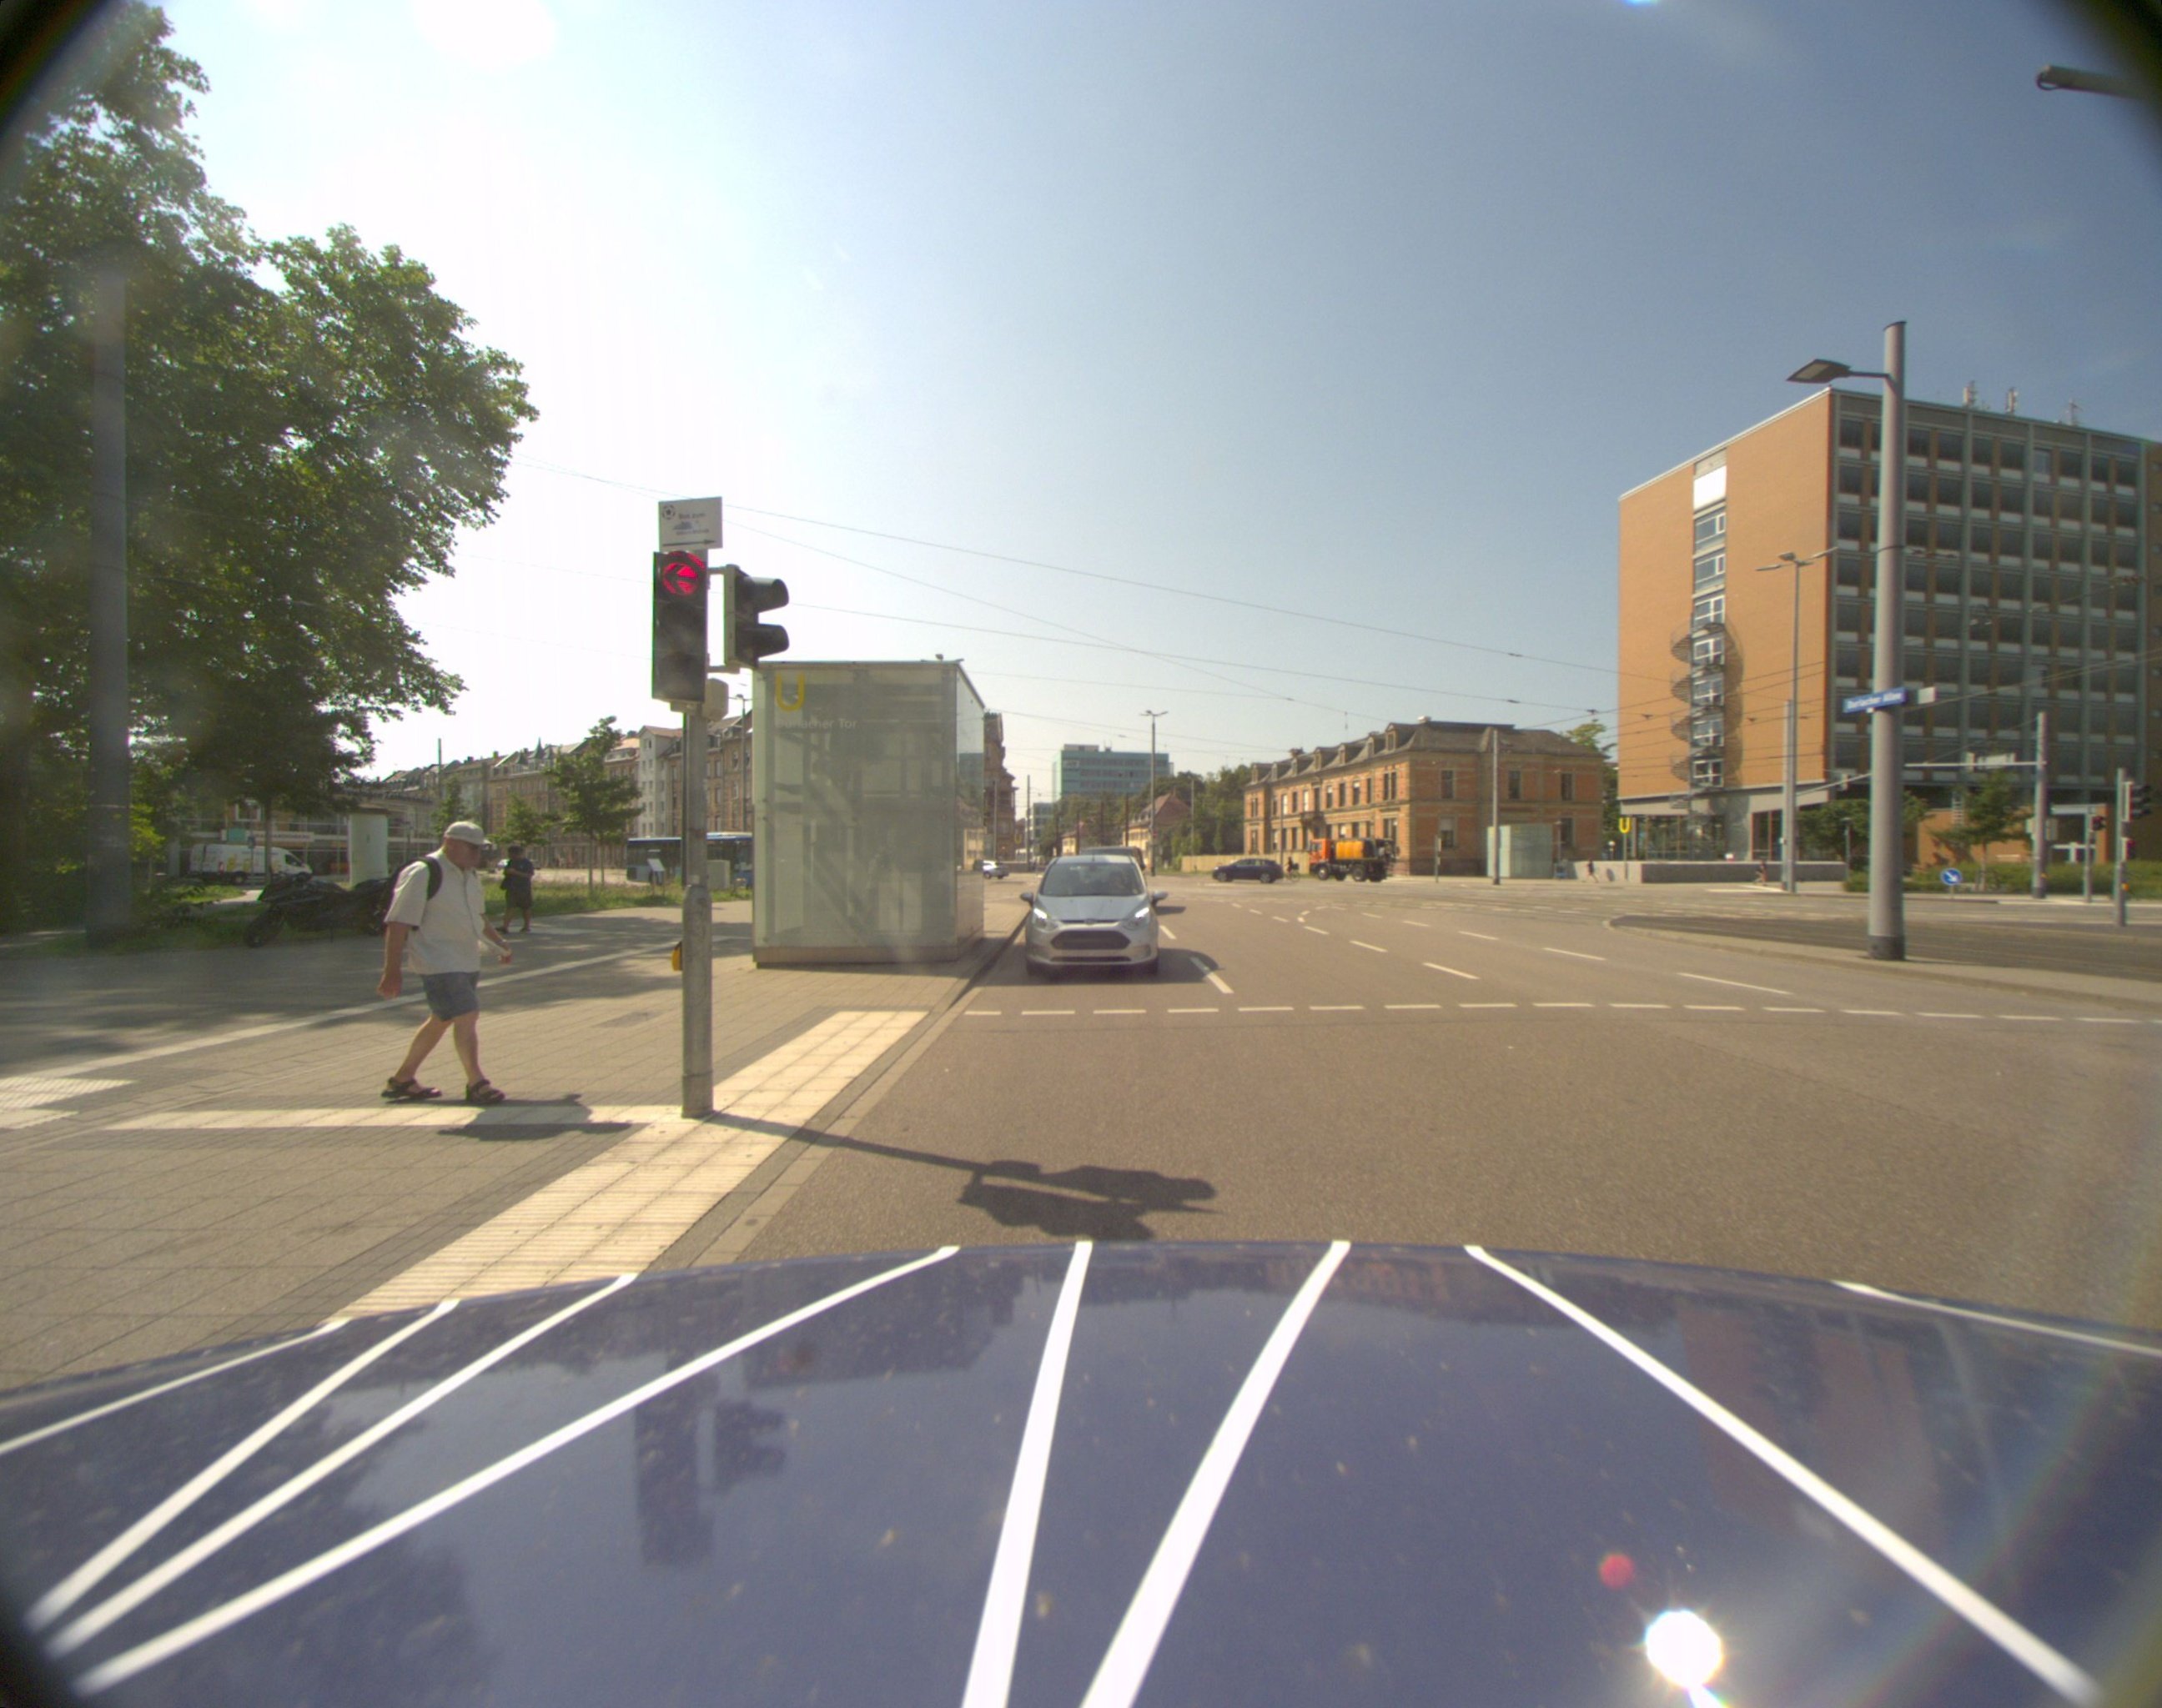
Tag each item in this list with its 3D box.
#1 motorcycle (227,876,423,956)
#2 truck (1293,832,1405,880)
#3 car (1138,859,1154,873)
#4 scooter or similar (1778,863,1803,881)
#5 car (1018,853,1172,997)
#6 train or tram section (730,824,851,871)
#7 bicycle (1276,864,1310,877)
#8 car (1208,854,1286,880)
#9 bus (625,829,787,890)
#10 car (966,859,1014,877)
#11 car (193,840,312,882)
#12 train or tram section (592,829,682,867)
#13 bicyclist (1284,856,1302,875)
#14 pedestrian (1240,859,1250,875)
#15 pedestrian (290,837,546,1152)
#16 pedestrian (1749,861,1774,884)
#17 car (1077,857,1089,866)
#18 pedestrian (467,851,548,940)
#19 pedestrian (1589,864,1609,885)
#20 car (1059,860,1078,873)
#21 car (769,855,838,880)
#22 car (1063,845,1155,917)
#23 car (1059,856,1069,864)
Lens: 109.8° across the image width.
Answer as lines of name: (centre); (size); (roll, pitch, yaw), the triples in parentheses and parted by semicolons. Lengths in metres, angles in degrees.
motorcycle: (-12.405, 0.963, 12.584); (0.911, 1.130, 2.114); (0, 0, 14)
truck: (19.277, 0.263, 55.036); (3.049, 3.209, 7.172); (1, -2, -38)
car: (10.158, 1.890, 118.834); (1.999, 2.001, 4.000); (0, -2, -4)
scooter or similar: (46.400, 1.163, 49.693); (1.143, 1.150, 0.444); (0, 0, 16)
car: (0.127, 0.780, 10.530); (1.692, 1.585, 4.360); (0, 0, -1)
train or tram section: (-23.813, -0.519, 61.756); (12.182, 3.540, 2.601); (0, 0, 34)
bicycle: (14.536, 1.115, 52.032); (2.165, 0.893, 0.643); (0, 0, 24)
car: (10.847, 0.842, 49.721); (4.687, 1.631, 2.003); (0, 0, 23)
bus: (-21.343, 0.300, 42.690); (12.047, 3.046, 2.740); (0, 0, 35)
car: (-7.132, 1.075, 59.322); (3.498, 1.331, 1.520); (0, 2, 31)
car: (-53.276, 0.534, 49.038); (1.847, 2.568, 5.219); (0, -2, 2)
train or tram section: (-44.107, -0.595, 75.239); (12.182, 3.540, 2.601); (0, 0, 34)
bicyclist: (14.541, 0.778, 52.019); (1.103, 1.258, 0.858); (0, 0, 22)
pedestrian: (14.078, 1.114, 65.310); (0.815, 1.343, 0.720); (0, 0, 9)
pedestrian: (-4.088, 0.807, 4.763); (0.821, 1.797, 0.814); (-1, 1, 2)
pedestrian: (41.887, 1.131, 46.752); (0.847, 1.386, 0.787); (0, 0, 4)
car: (0.427, 1.648, 166.159); (2.000, 1.673, 3.998); (0, -2, -7)
pedestrian: (-10.721, 0.753, 14.236); (0.793, 1.600, 0.949); (1, 1, -2)
pedestrian: (35.123, 1.404, 51.567); (0.847, 1.386, 0.787); (0, 0, 4)
car: (-1.384, 1.311, 80.877); (1.588, 1.280, 3.726); (1, -2, -7)
car: (-16.784, 0.781, 45.935); (3.762, 1.463, 1.633); (0, 0, 23)
car: (0.705, 0.711, 22.727); (1.901, 1.919, 4.881); (0, 0, -8)
car: (-4.044, 1.551, 183.901); (2.000, 1.892, 3.998); (0, -2, -7)
